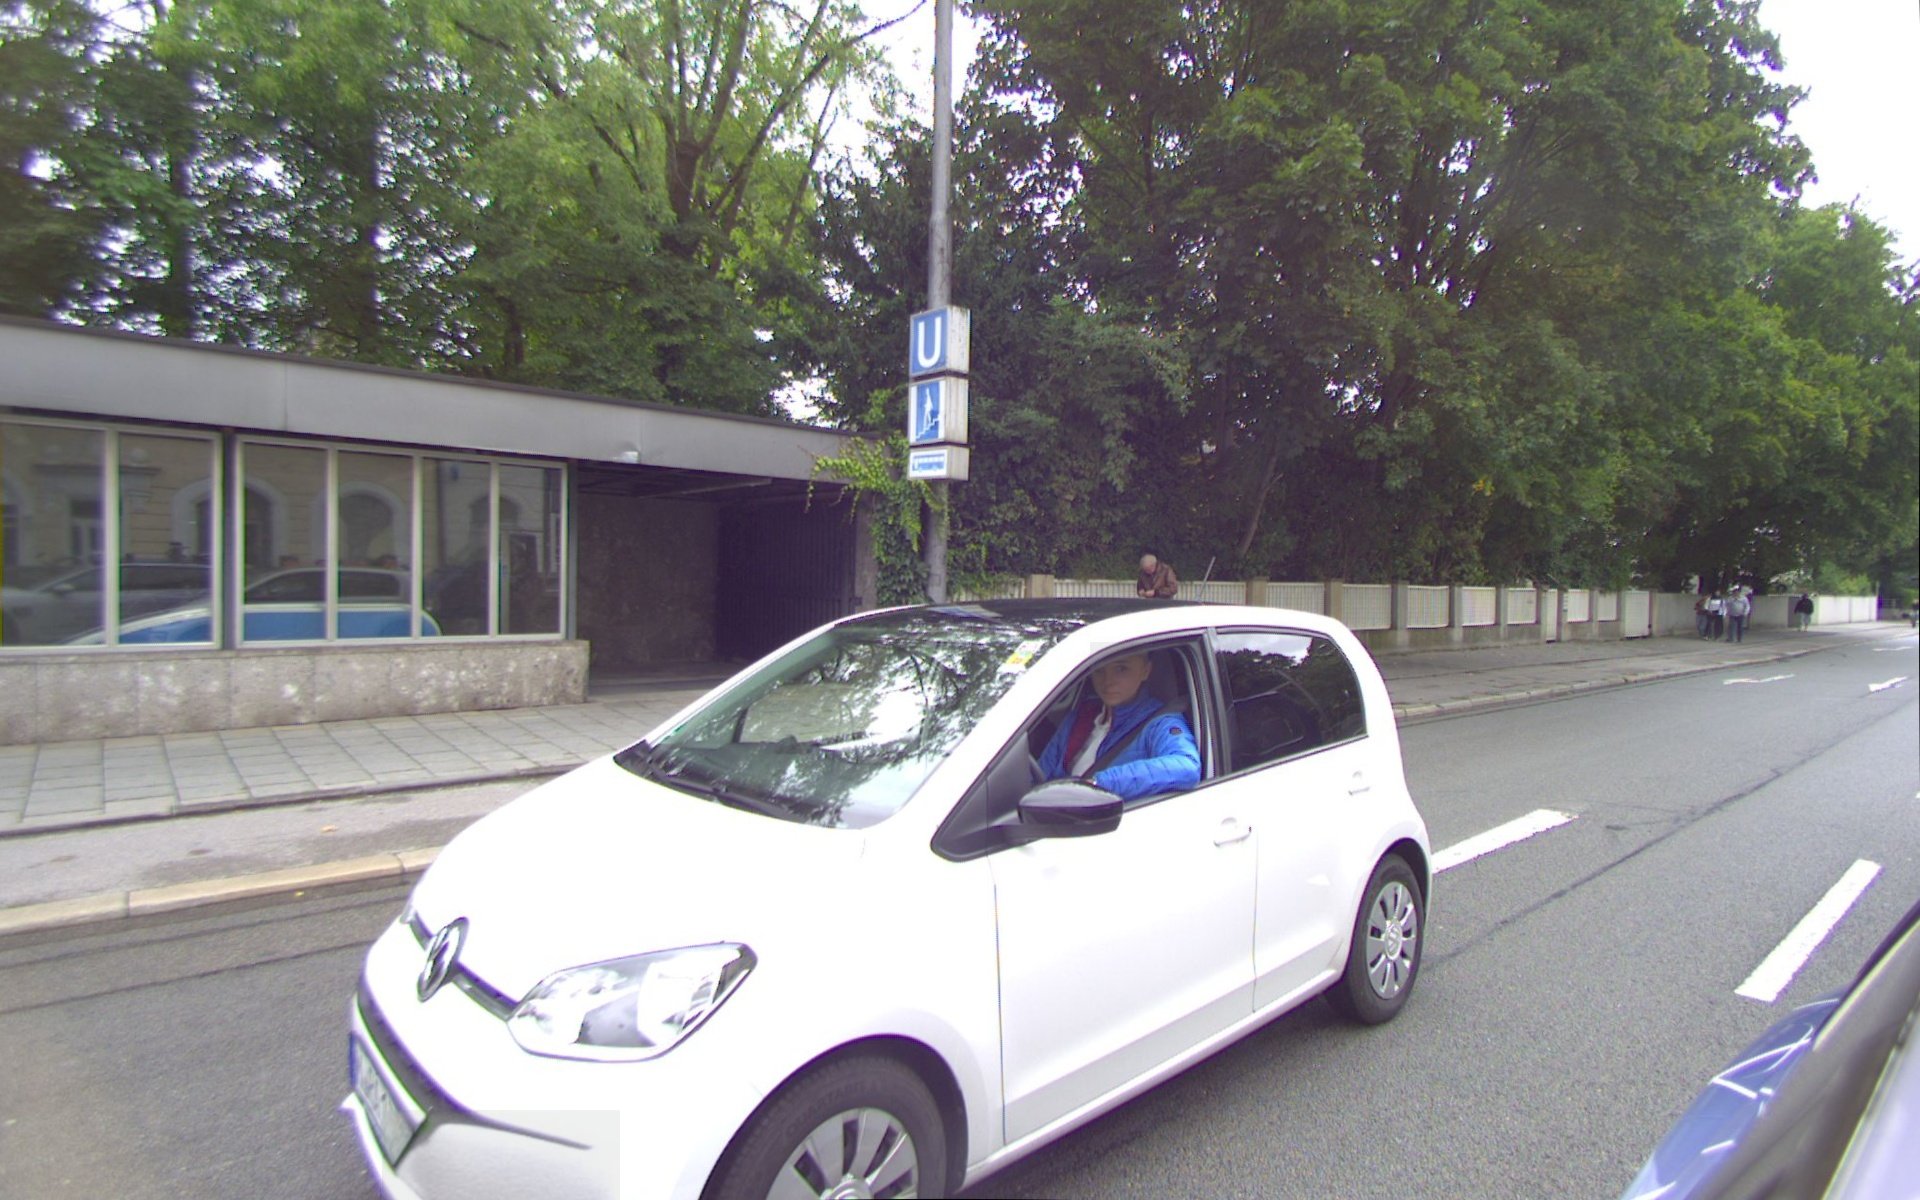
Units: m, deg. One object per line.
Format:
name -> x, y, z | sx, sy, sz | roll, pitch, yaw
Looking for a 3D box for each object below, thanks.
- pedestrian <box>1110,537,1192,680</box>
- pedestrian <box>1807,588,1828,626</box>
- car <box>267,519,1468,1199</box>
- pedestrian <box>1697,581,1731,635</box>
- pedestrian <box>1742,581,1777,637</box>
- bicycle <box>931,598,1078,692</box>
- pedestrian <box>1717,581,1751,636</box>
pedestrian -> 2.733, 0.104, 14.475 | 0.788, 1.966, 0.779 | 0, 2, -40
pedestrian -> 37.545, 0.295, 44.322 | 0.716, 1.600, 0.529 | 0, 3, -42
car -> 0.032, 0.651, 3.221 | 3.524, 1.581, 1.645 | 0, 1, -42
pedestrian -> 24.841, 0.250, 33.352 | 0.753, 1.726, 0.667 | 0, 3, -42
pedestrian -> 25.718, 0.282, 32.545 | 0.753, 1.726, 0.667 | 0, 3, -42
bicycle -> 0.594, 0.532, 12.905 | 1.991, 1.104, 0.623 | 0, 1, -41
pedestrian -> 25.272, 0.268, 33.054 | 0.753, 1.726, 0.667 | 0, 3, -42
